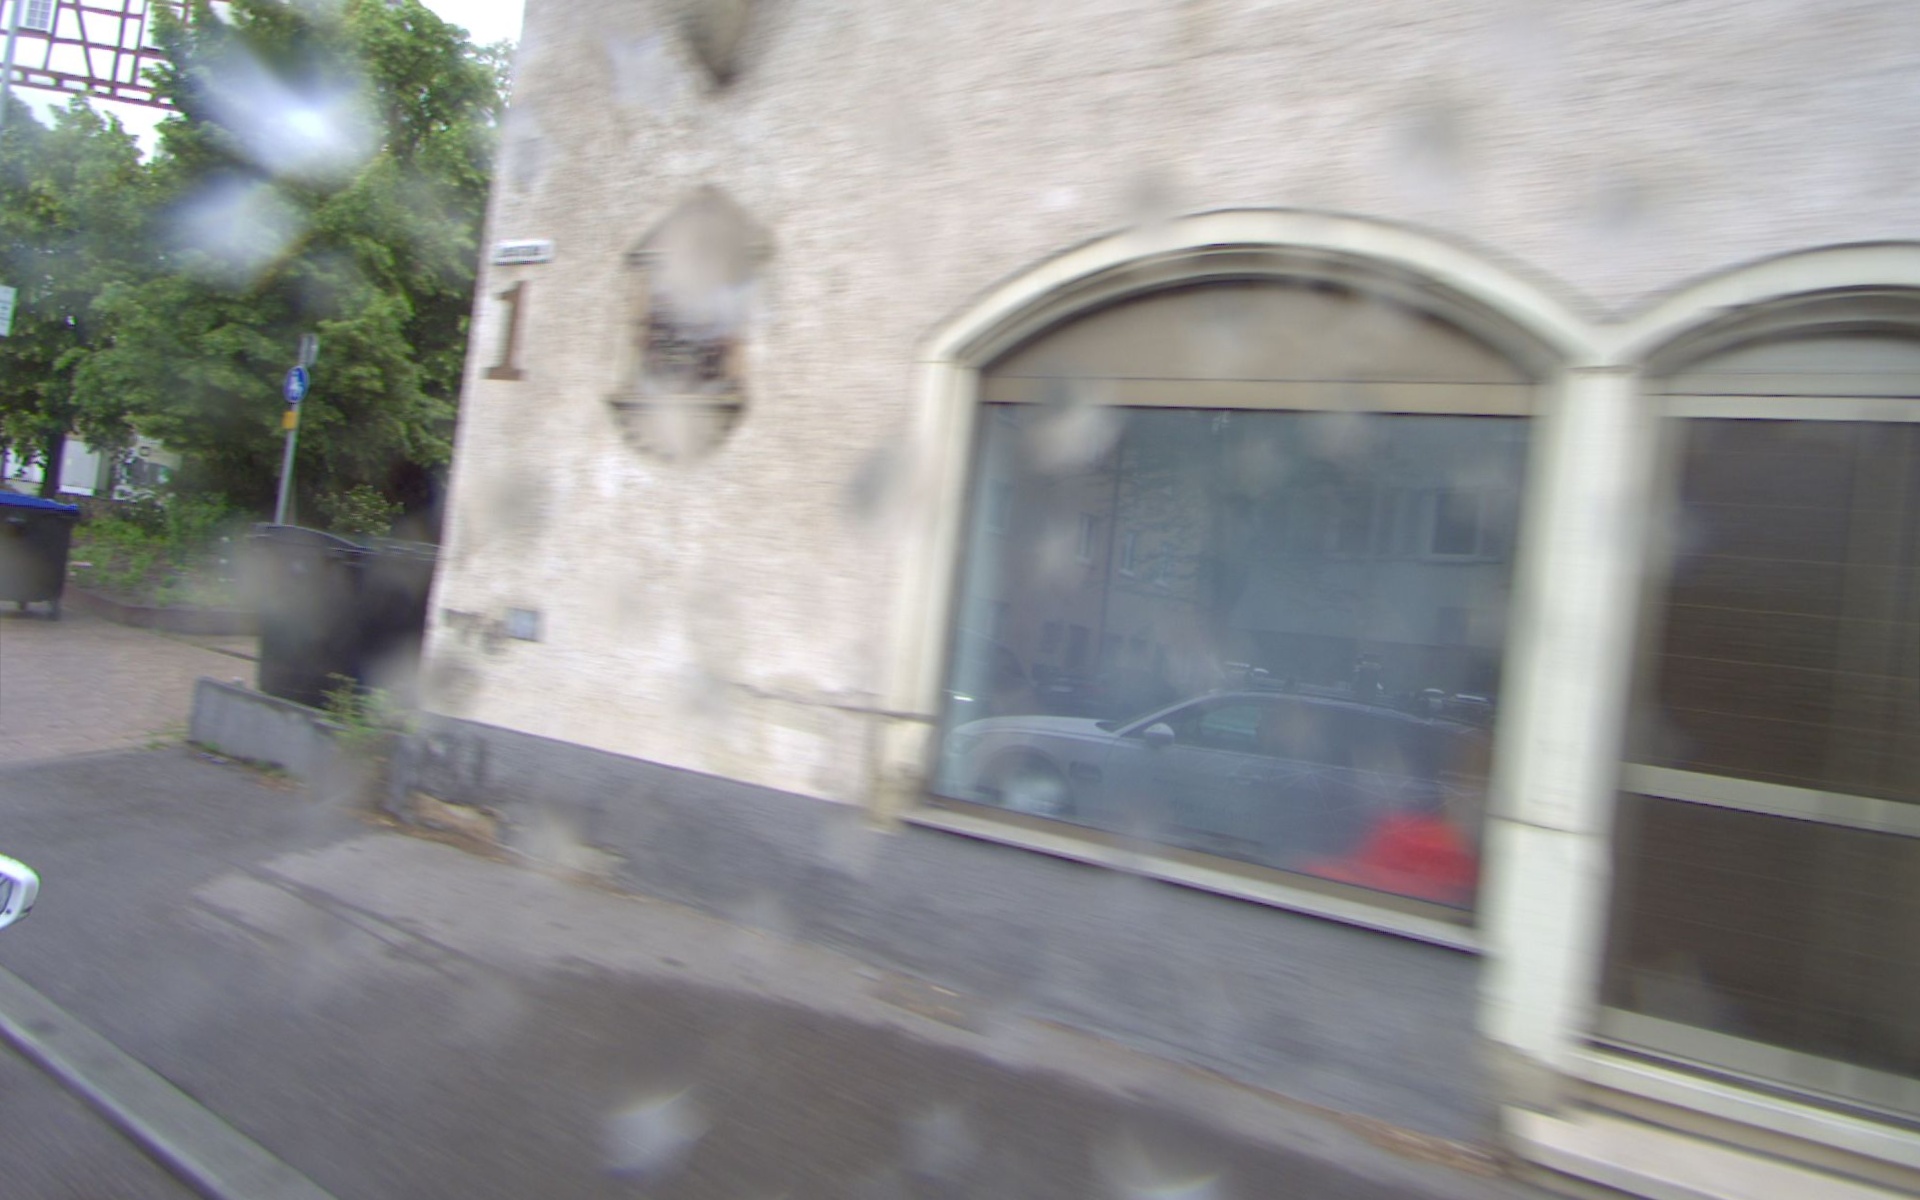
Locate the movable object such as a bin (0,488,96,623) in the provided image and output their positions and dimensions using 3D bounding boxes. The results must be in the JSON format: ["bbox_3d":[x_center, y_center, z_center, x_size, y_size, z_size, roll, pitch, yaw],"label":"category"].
[{"bbox_3d":[-10.229,-0.523,10.744,1.167,1.328,1.156,7,-1,34],"label":"movable object such as a bin"}]

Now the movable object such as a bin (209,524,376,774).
[{"bbox_3d":[-4.168,0.303,6.310,0.632,1.459,0.413,5,-1,5],"label":"movable object such as a bin"}]
